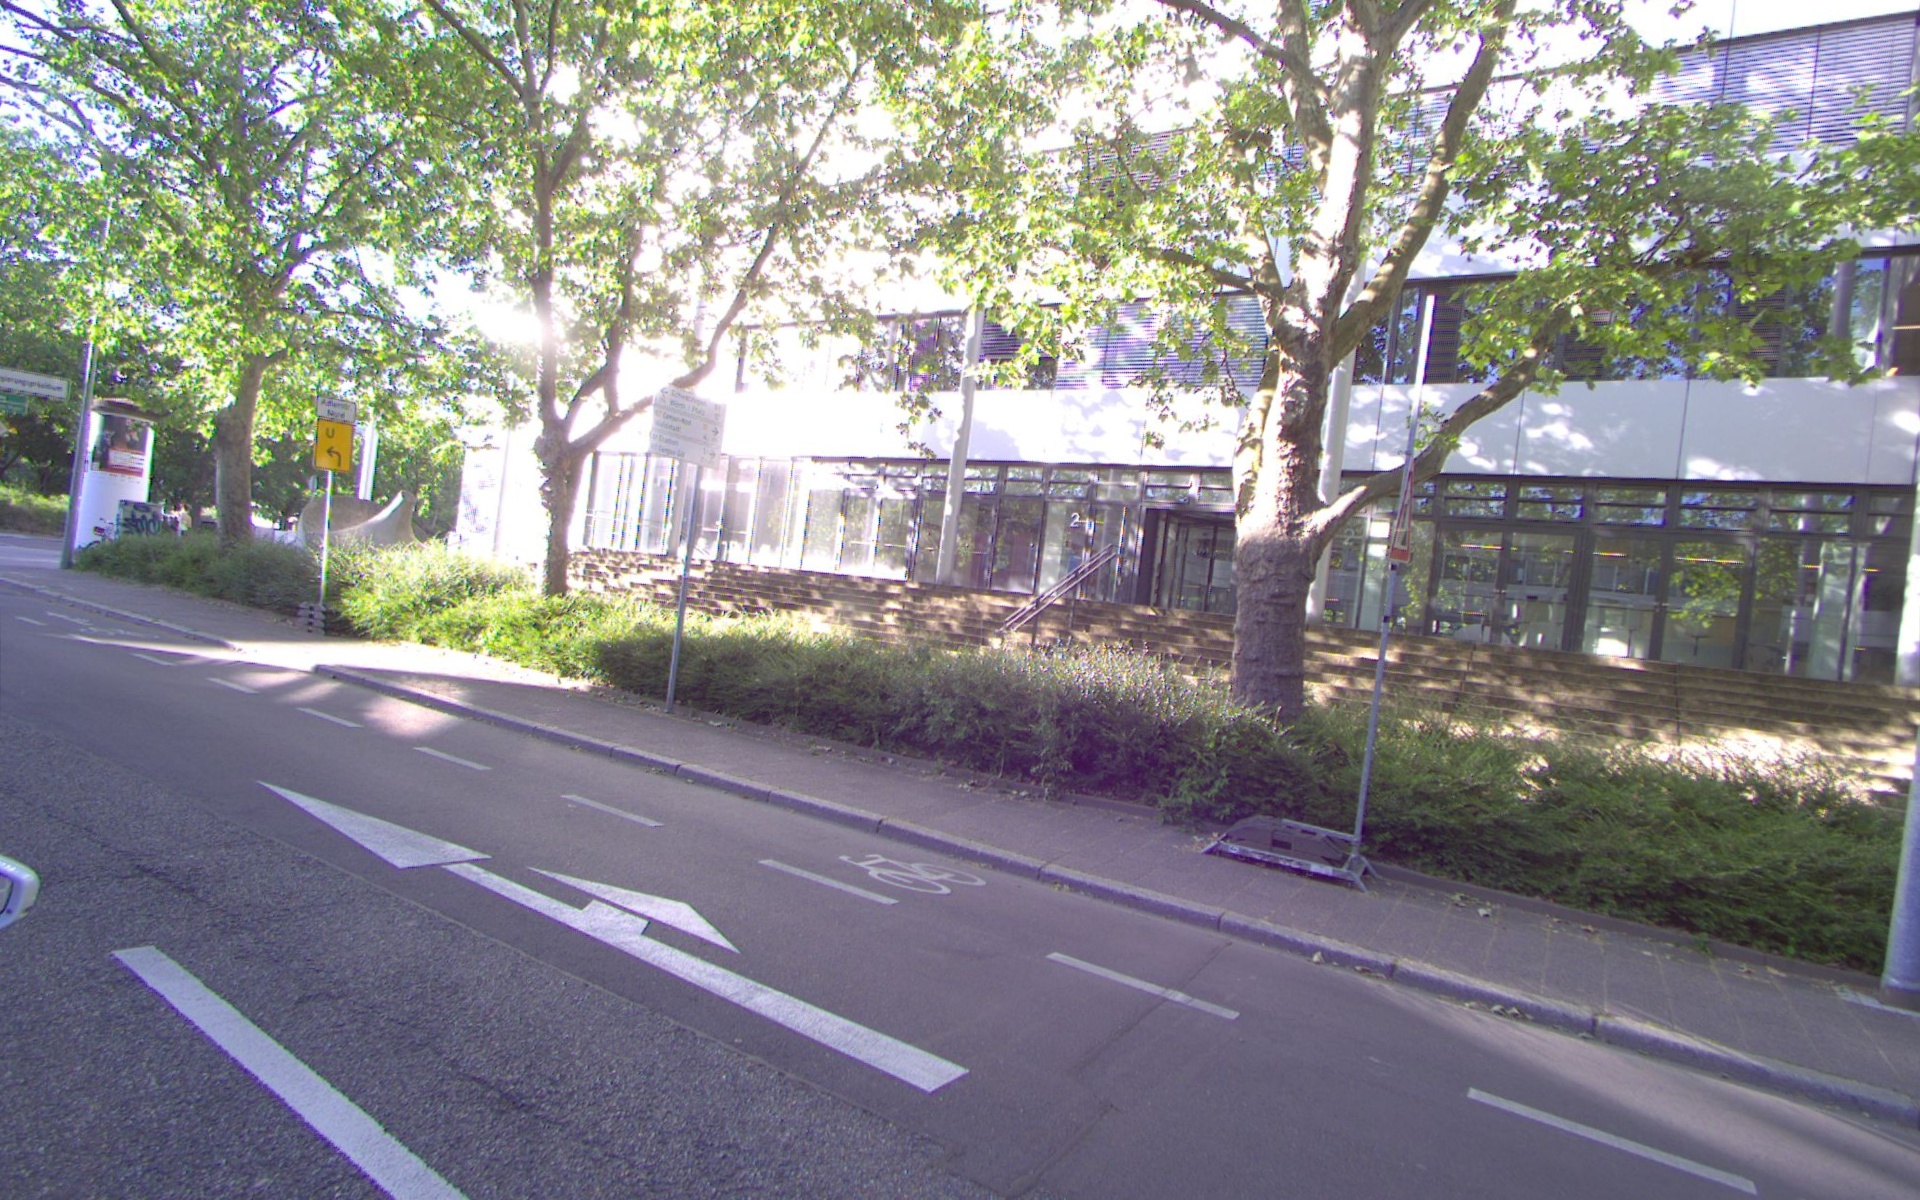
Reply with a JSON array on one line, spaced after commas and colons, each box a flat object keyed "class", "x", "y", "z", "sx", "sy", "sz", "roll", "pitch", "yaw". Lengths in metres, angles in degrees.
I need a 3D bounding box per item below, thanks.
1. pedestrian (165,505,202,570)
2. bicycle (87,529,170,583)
[{"class": "pedestrian", "x": -23.319, "y": -1.873, "z": 30.198, "sx": 0.584, "sy": 1.871, "sz": 0.552, "roll": 7, "pitch": 0, "yaw": 33}, {"class": "bicycle", "x": -19.146, "y": -1.002, "z": 23.185, "sx": 0.357, "sy": 1.036, "sz": 1.354, "roll": 7, "pitch": -1, "yaw": 33}]
